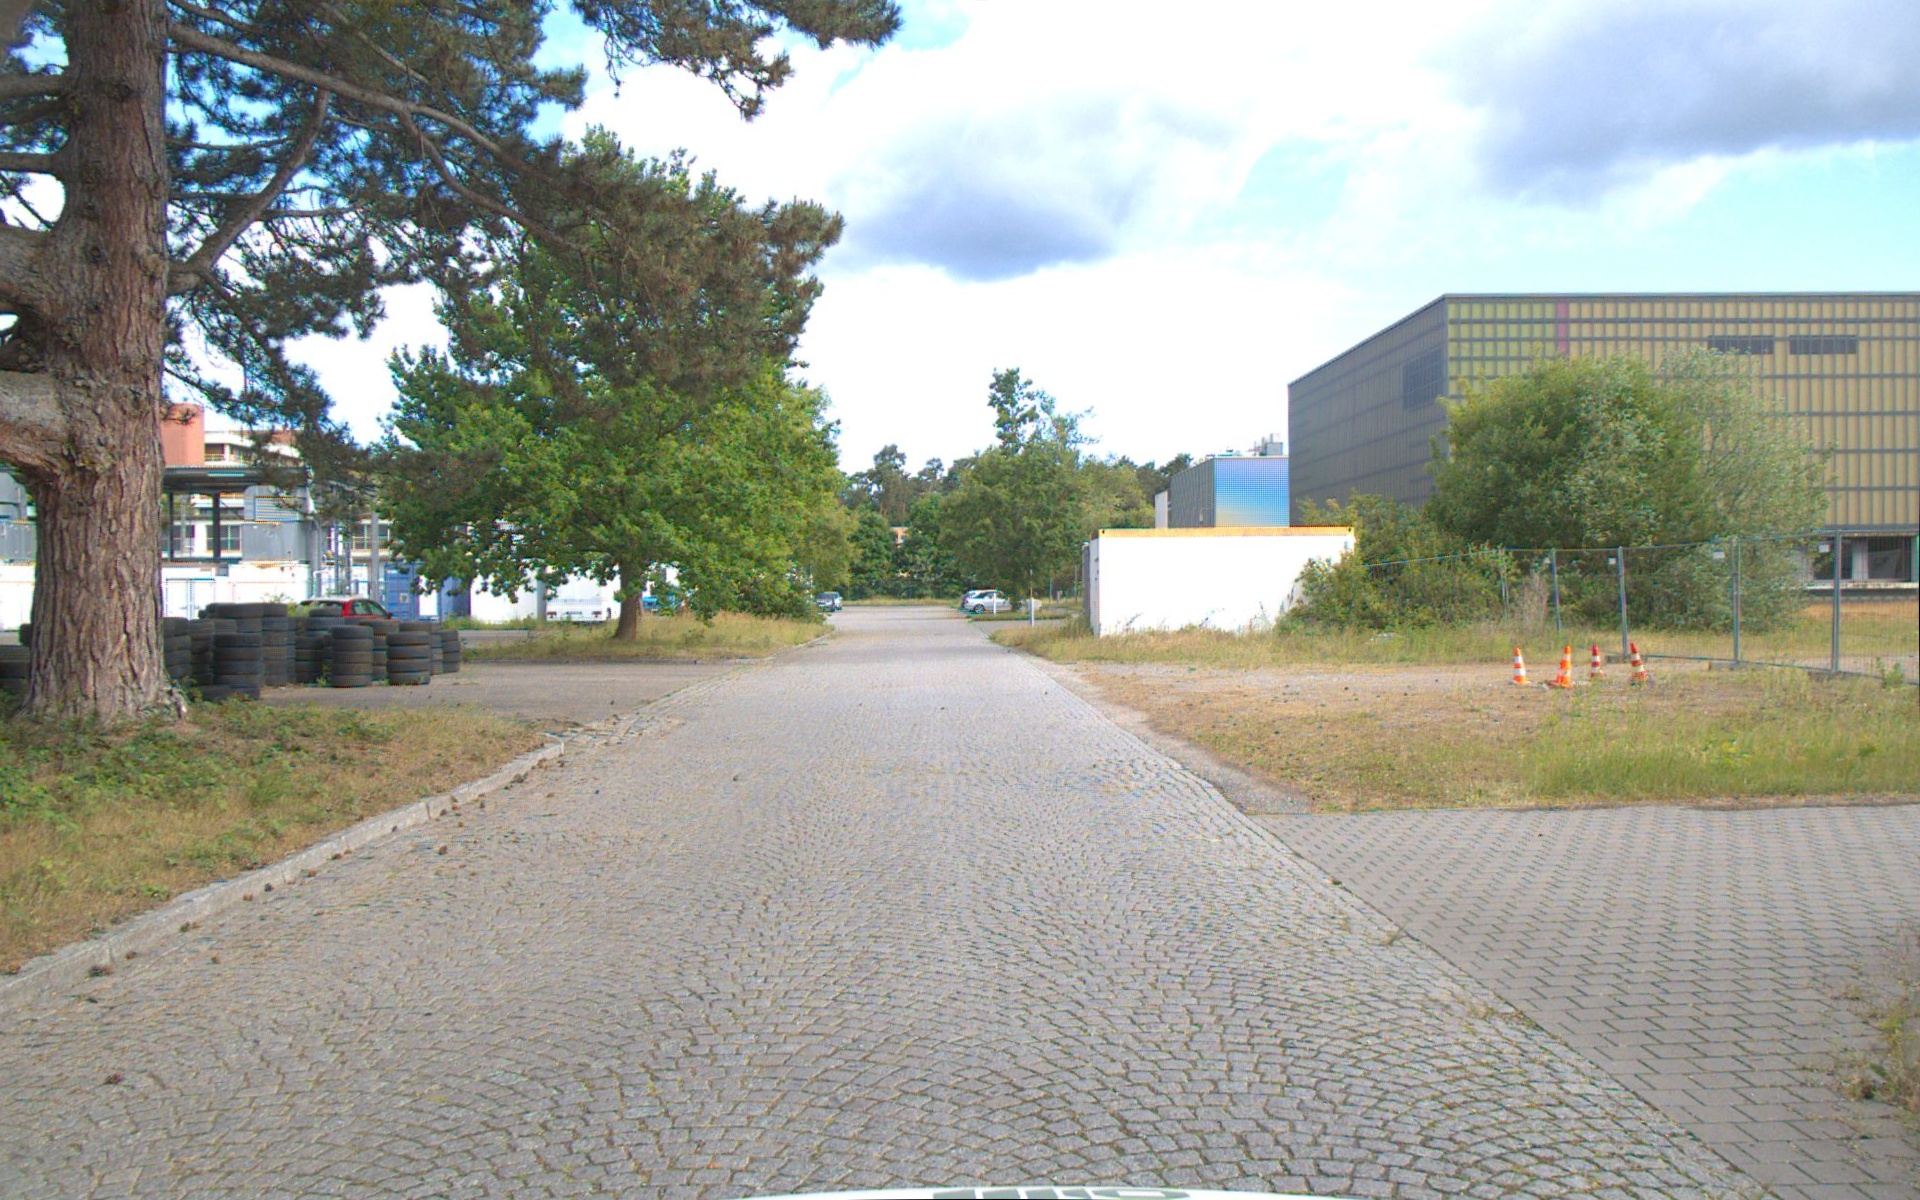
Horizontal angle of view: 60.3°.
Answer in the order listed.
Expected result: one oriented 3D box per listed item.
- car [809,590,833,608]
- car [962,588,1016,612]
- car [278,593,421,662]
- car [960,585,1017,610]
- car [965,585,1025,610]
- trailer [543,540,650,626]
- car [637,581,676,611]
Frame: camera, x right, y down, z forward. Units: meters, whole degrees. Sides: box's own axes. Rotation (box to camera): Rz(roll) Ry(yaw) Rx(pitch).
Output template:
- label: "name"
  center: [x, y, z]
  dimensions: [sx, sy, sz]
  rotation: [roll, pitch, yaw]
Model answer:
- label: "car"
  center: [-10.798, -0.091, 128.725]
  dimensions: [1.614, 1.393, 3.997]
  rotation: [-1, 0, -1]
- label: "car"
  center: [1.868, -0.031, 107.514]
  dimensions: [3.451, 1.386, 1.622]
  rotation: [-3, 0, -1]
- label: "car"
  center: [-14.216, 0.607, 38.765]
  dimensions: [1.591, 1.458, 4.066]
  rotation: [-1, 1, 4]
- label: "car"
  center: [1.976, -0.200, 115.344]
  dimensions: [3.904, 1.501, 1.653]
  rotation: [-3, 0, -1]
- label: "car"
  center: [2.333, -0.147, 110.221]
  dimensions: [3.904, 1.473, 1.653]
  rotation: [-3, 0, -1]
- label: "trailer"
  center: [-16.713, -0.772, 76.767]
  dimensions: [2.571, 3.660, 10.178]
  rotation: [-1, 0, 1]
- label: "car"
  center: [-21.319, -0.282, 116.401]
  dimensions: [1.953, 2.049, 4.766]
  rotation: [-1, 0, -1]
